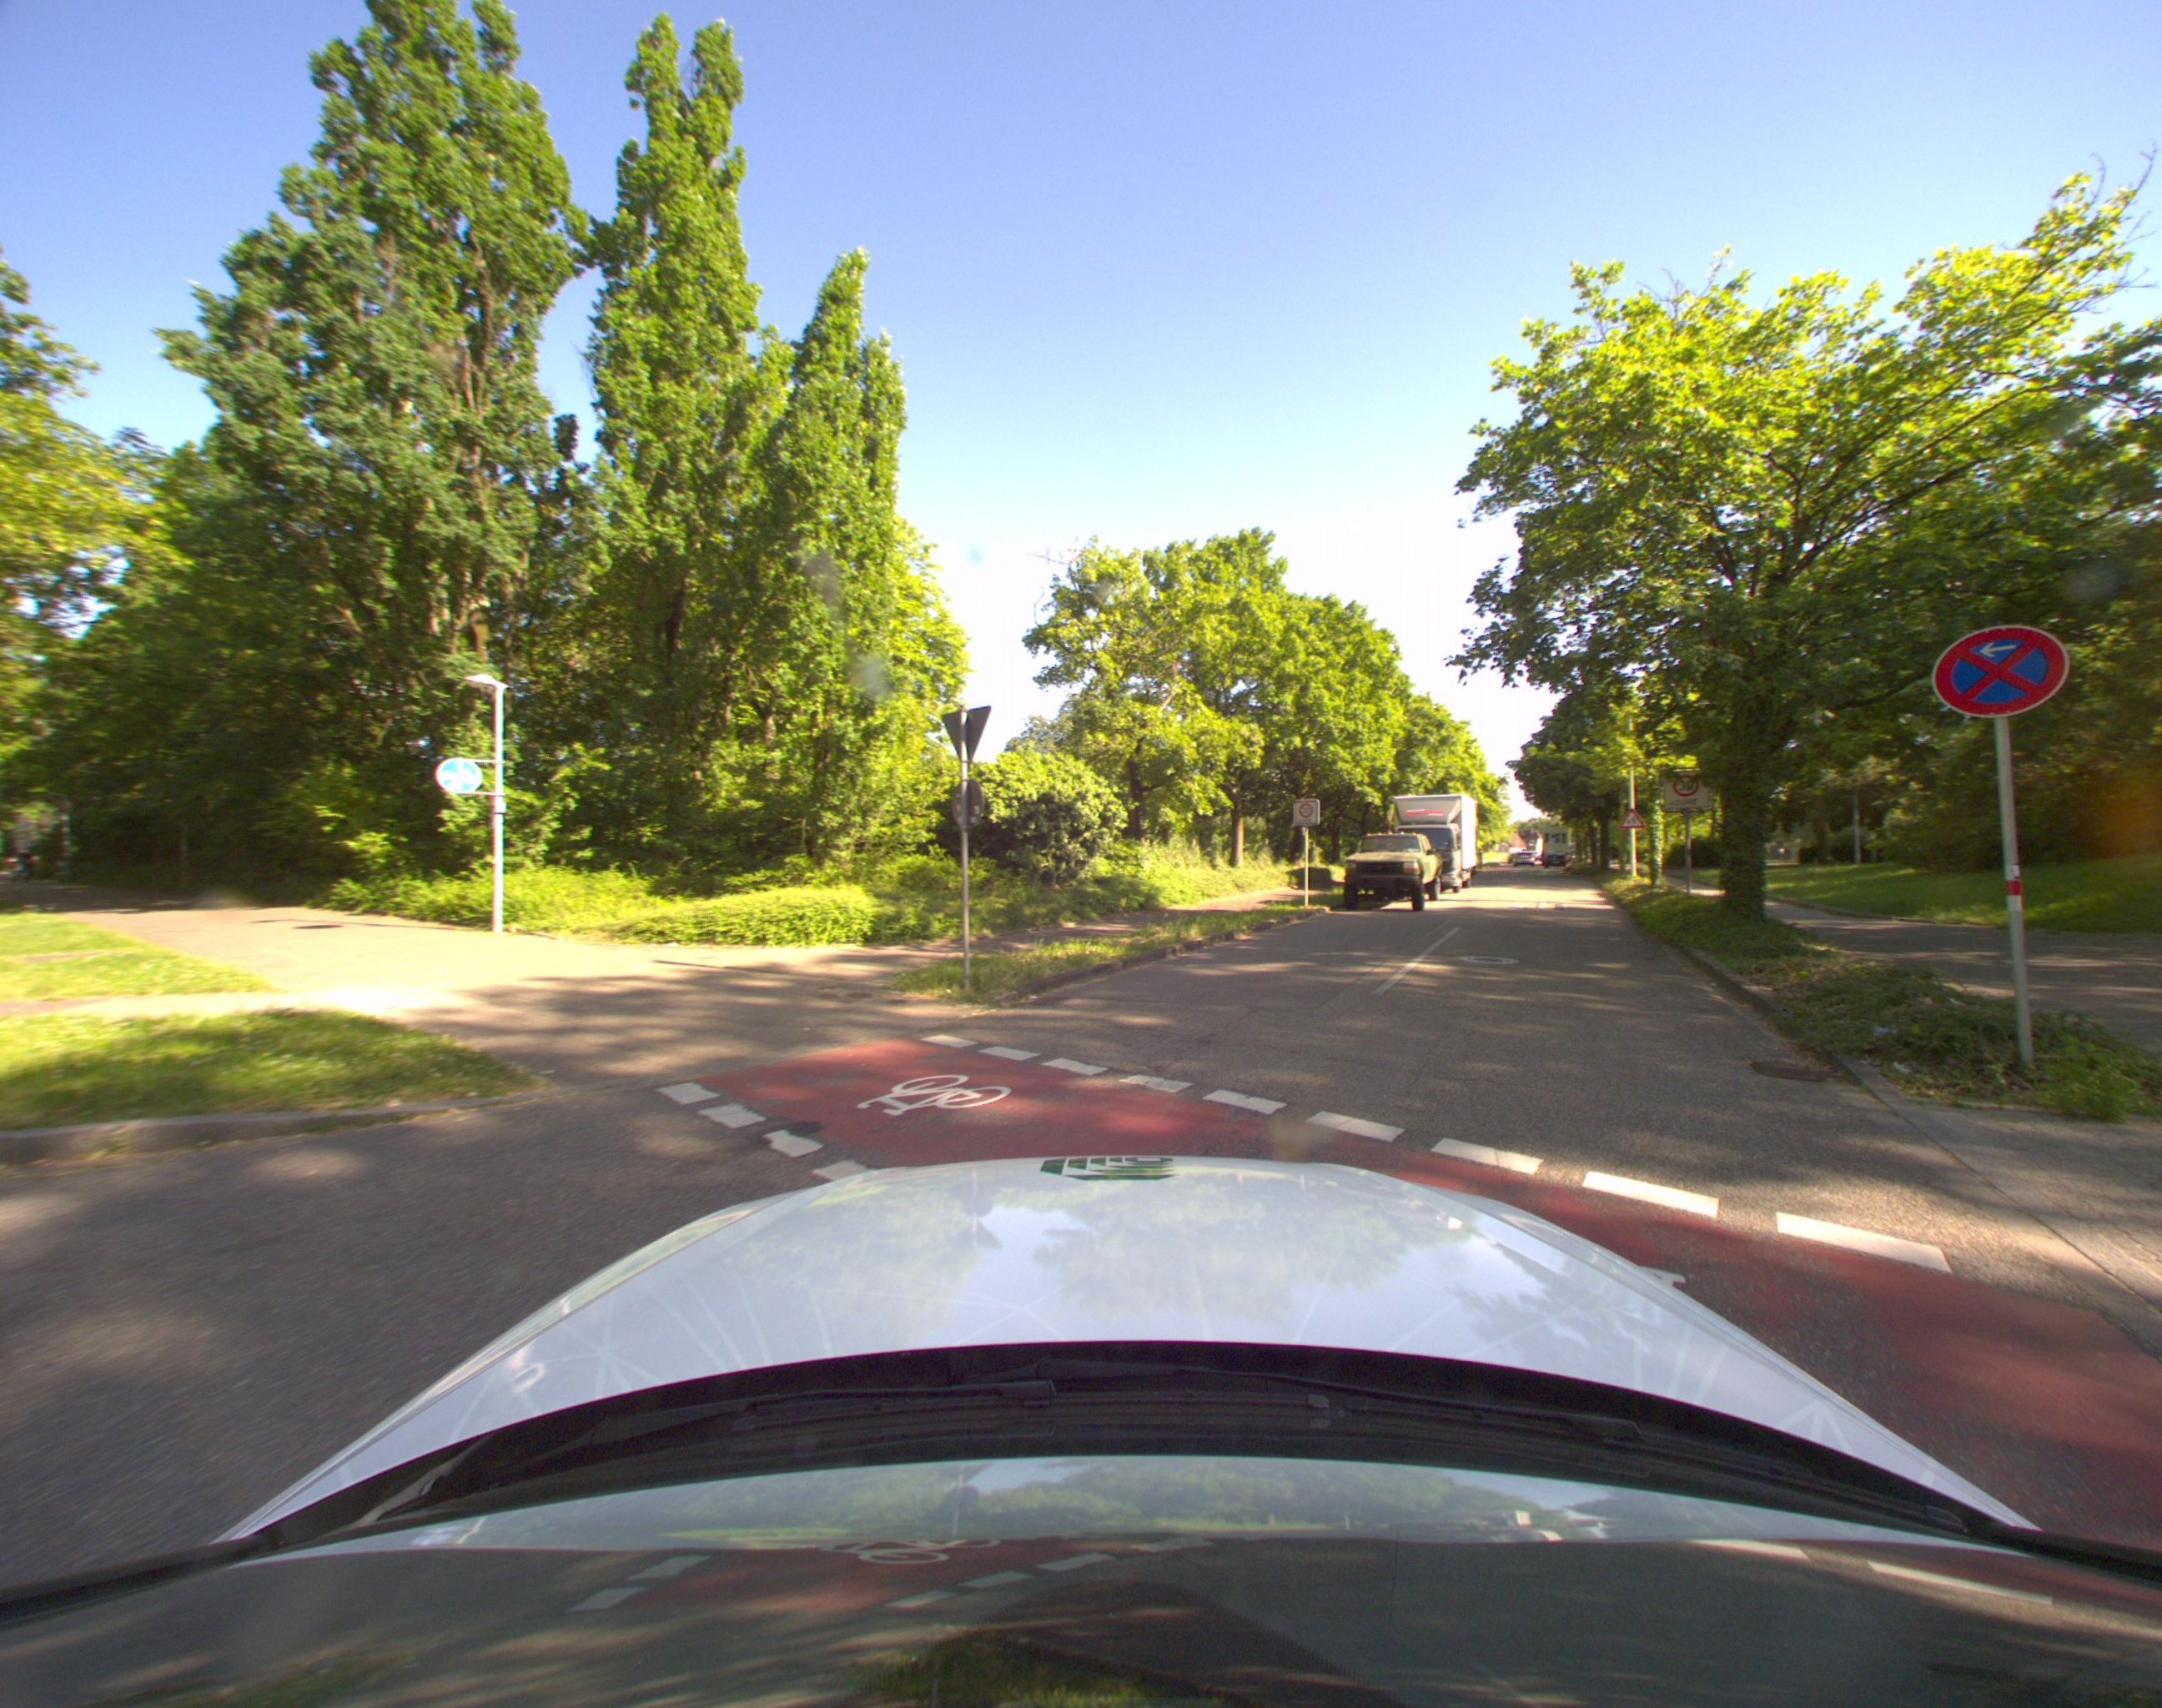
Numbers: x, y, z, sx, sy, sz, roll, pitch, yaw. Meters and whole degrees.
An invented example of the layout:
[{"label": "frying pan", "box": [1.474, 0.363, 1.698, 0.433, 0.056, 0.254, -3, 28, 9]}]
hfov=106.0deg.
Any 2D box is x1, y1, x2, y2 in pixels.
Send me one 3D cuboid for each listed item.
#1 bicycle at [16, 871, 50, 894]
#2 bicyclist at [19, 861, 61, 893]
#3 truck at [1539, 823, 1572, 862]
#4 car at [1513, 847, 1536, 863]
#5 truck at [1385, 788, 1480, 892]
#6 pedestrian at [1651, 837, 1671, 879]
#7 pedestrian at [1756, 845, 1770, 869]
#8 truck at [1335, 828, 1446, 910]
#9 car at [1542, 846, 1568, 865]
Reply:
[{"label": "bicycle", "box": [-54.203, 1.461, 42.131, 1.777, 1.107, 0.763, 0, 0, 27]}, {"label": "bicyclist", "box": [-54.068, 1.176, 42.300, 1.016, 1.661, 1.190, 0, 0, 27]}, {"label": "truck", "box": [50.288, -1.180, 86.170, 2.860, 3.944, 10.063, 0, 0, 31]}, {"label": "car", "box": [43.176, 0.057, 79.281, 1.777, 1.510, 4.025, 0, 0, 31]}, {"label": "truck", "box": [14.240, -0.493, 32.622, 2.589, 3.627, 8.006, -1, 0, 29]}, {"label": "pedestrian", "box": [25.717, 0.185, 36.102, 0.642, 1.820, 0.654, 0, 0, 31]}, {"label": "pedestrian", "box": [47.239, 0.223, 56.377, 0.642, 1.661, 0.654, 0, 0, 32]}, {"label": "truck", "box": [9.289, 0.375, 24.035, 2.093, 2.094, 6.688, -1, 0, 29]}, {"label": "car", "box": [38.919, 0.082, 66.869, 1.777, 1.510, 4.025, 0, 0, 31]}]
